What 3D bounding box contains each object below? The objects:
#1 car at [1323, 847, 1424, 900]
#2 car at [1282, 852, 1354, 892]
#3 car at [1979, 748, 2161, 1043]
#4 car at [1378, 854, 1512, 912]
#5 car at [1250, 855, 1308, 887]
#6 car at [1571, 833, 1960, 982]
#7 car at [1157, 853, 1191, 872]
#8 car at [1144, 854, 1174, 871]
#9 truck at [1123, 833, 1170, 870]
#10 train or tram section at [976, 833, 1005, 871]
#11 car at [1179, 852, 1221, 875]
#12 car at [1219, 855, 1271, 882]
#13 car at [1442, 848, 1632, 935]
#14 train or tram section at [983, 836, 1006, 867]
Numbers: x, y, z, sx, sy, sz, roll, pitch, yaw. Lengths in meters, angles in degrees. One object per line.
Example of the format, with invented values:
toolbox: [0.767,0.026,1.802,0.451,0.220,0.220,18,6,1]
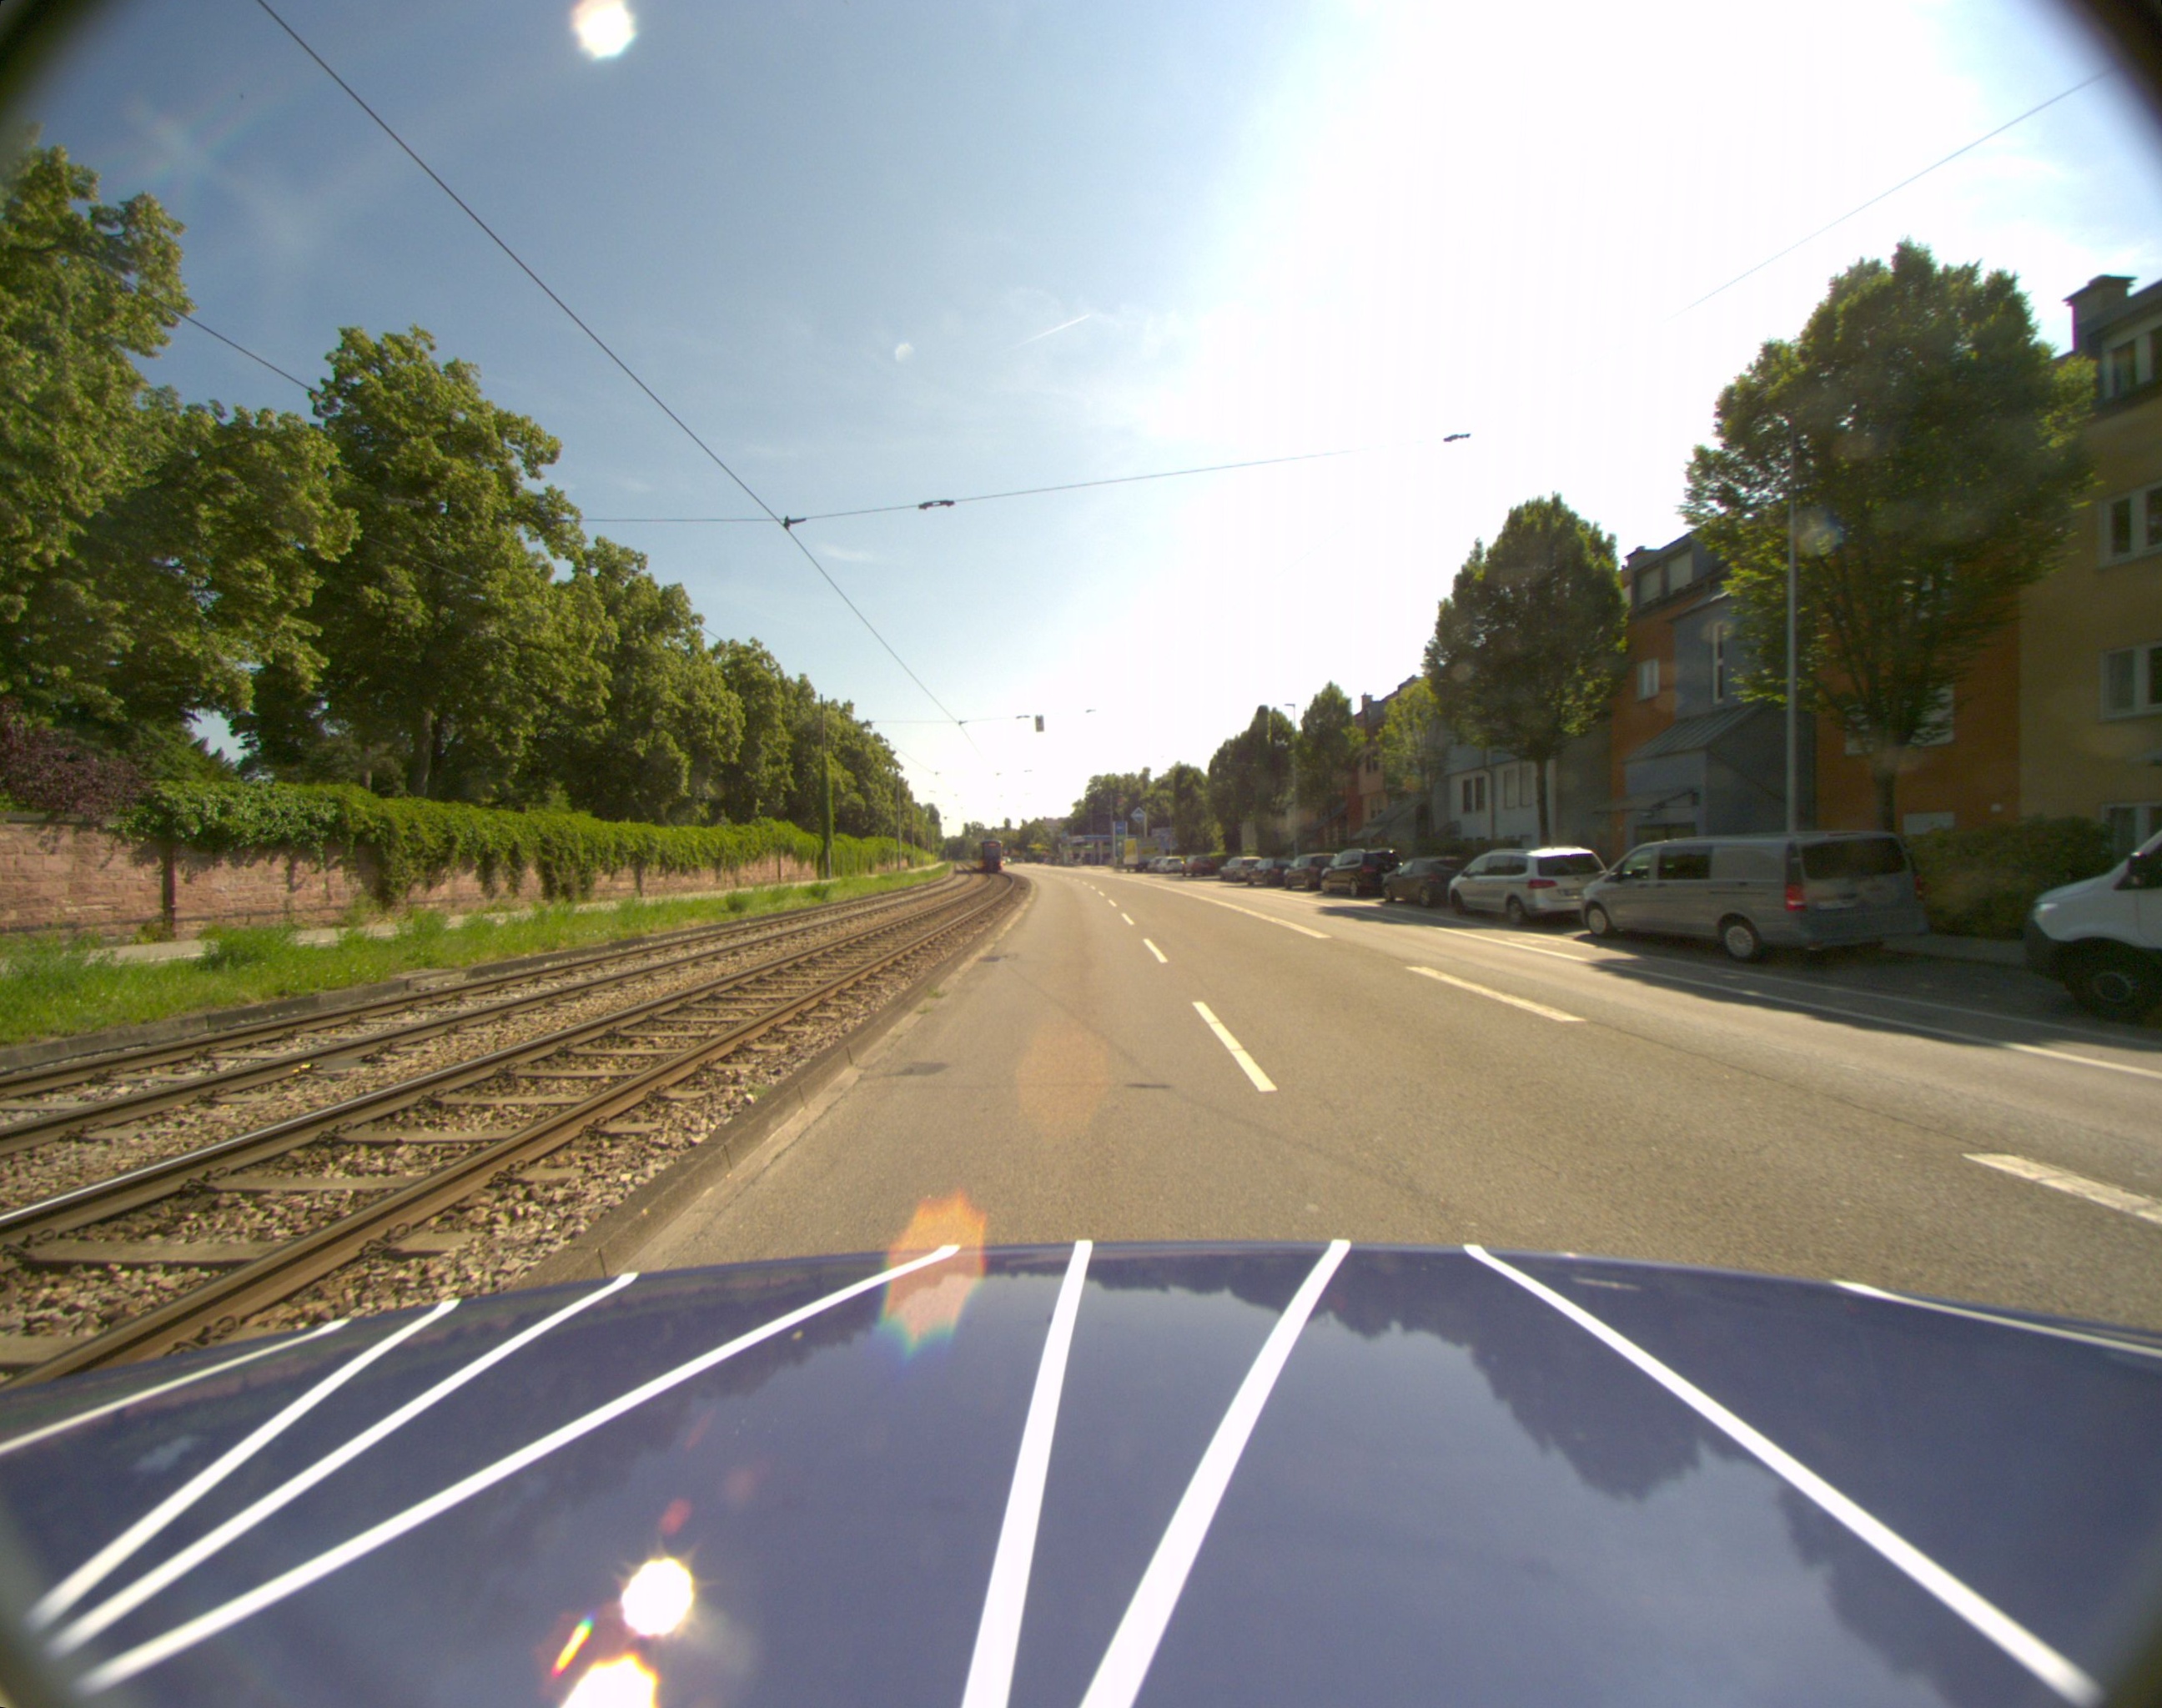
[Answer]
car: [10.723,0.643,28.242,1.834,1.718,4.348,-3,1,-3]
car: [10.549,0.736,34.096,1.681,1.598,4.164,-2,1,-3]
car: [10.660,0.324,4.627,1.998,2.661,7.086,-4,0,2]
car: [10.906,0.804,23.129,1.871,1.447,4.074,-4,1,-3]
car: [10.263,0.827,39.695,1.681,1.462,4.212,-2,1,-3]
car: [10.874,0.717,12.776,1.998,1.855,4.966,-5,0,1]
car: [7.988,0.698,65.624,2.040,1.490,4.130,-2,1,-6]
car: [7.183,0.740,70.508,1.915,1.469,4.213,-2,1,-6]
truck: [6.610,-0.288,77.985,3.165,3.534,8.779,-1,0,-6]
train or tram section: [-10.064,-0.225,86.273,2.722,3.716,18.868,-2,0,-6]
car: [9.017,0.697,57.828,1.911,1.567,4.929,-2,1,-6]
car: [9.945,0.833,46.405,1.682,1.437,4.835,-2,1,-6]
car: [10.760,0.770,18.400,1.852,1.693,4.540,-4,1,1]
train or tram section: [-11.866,-0.327,105.036,2.722,3.716,18.868,-2,0,-6]
